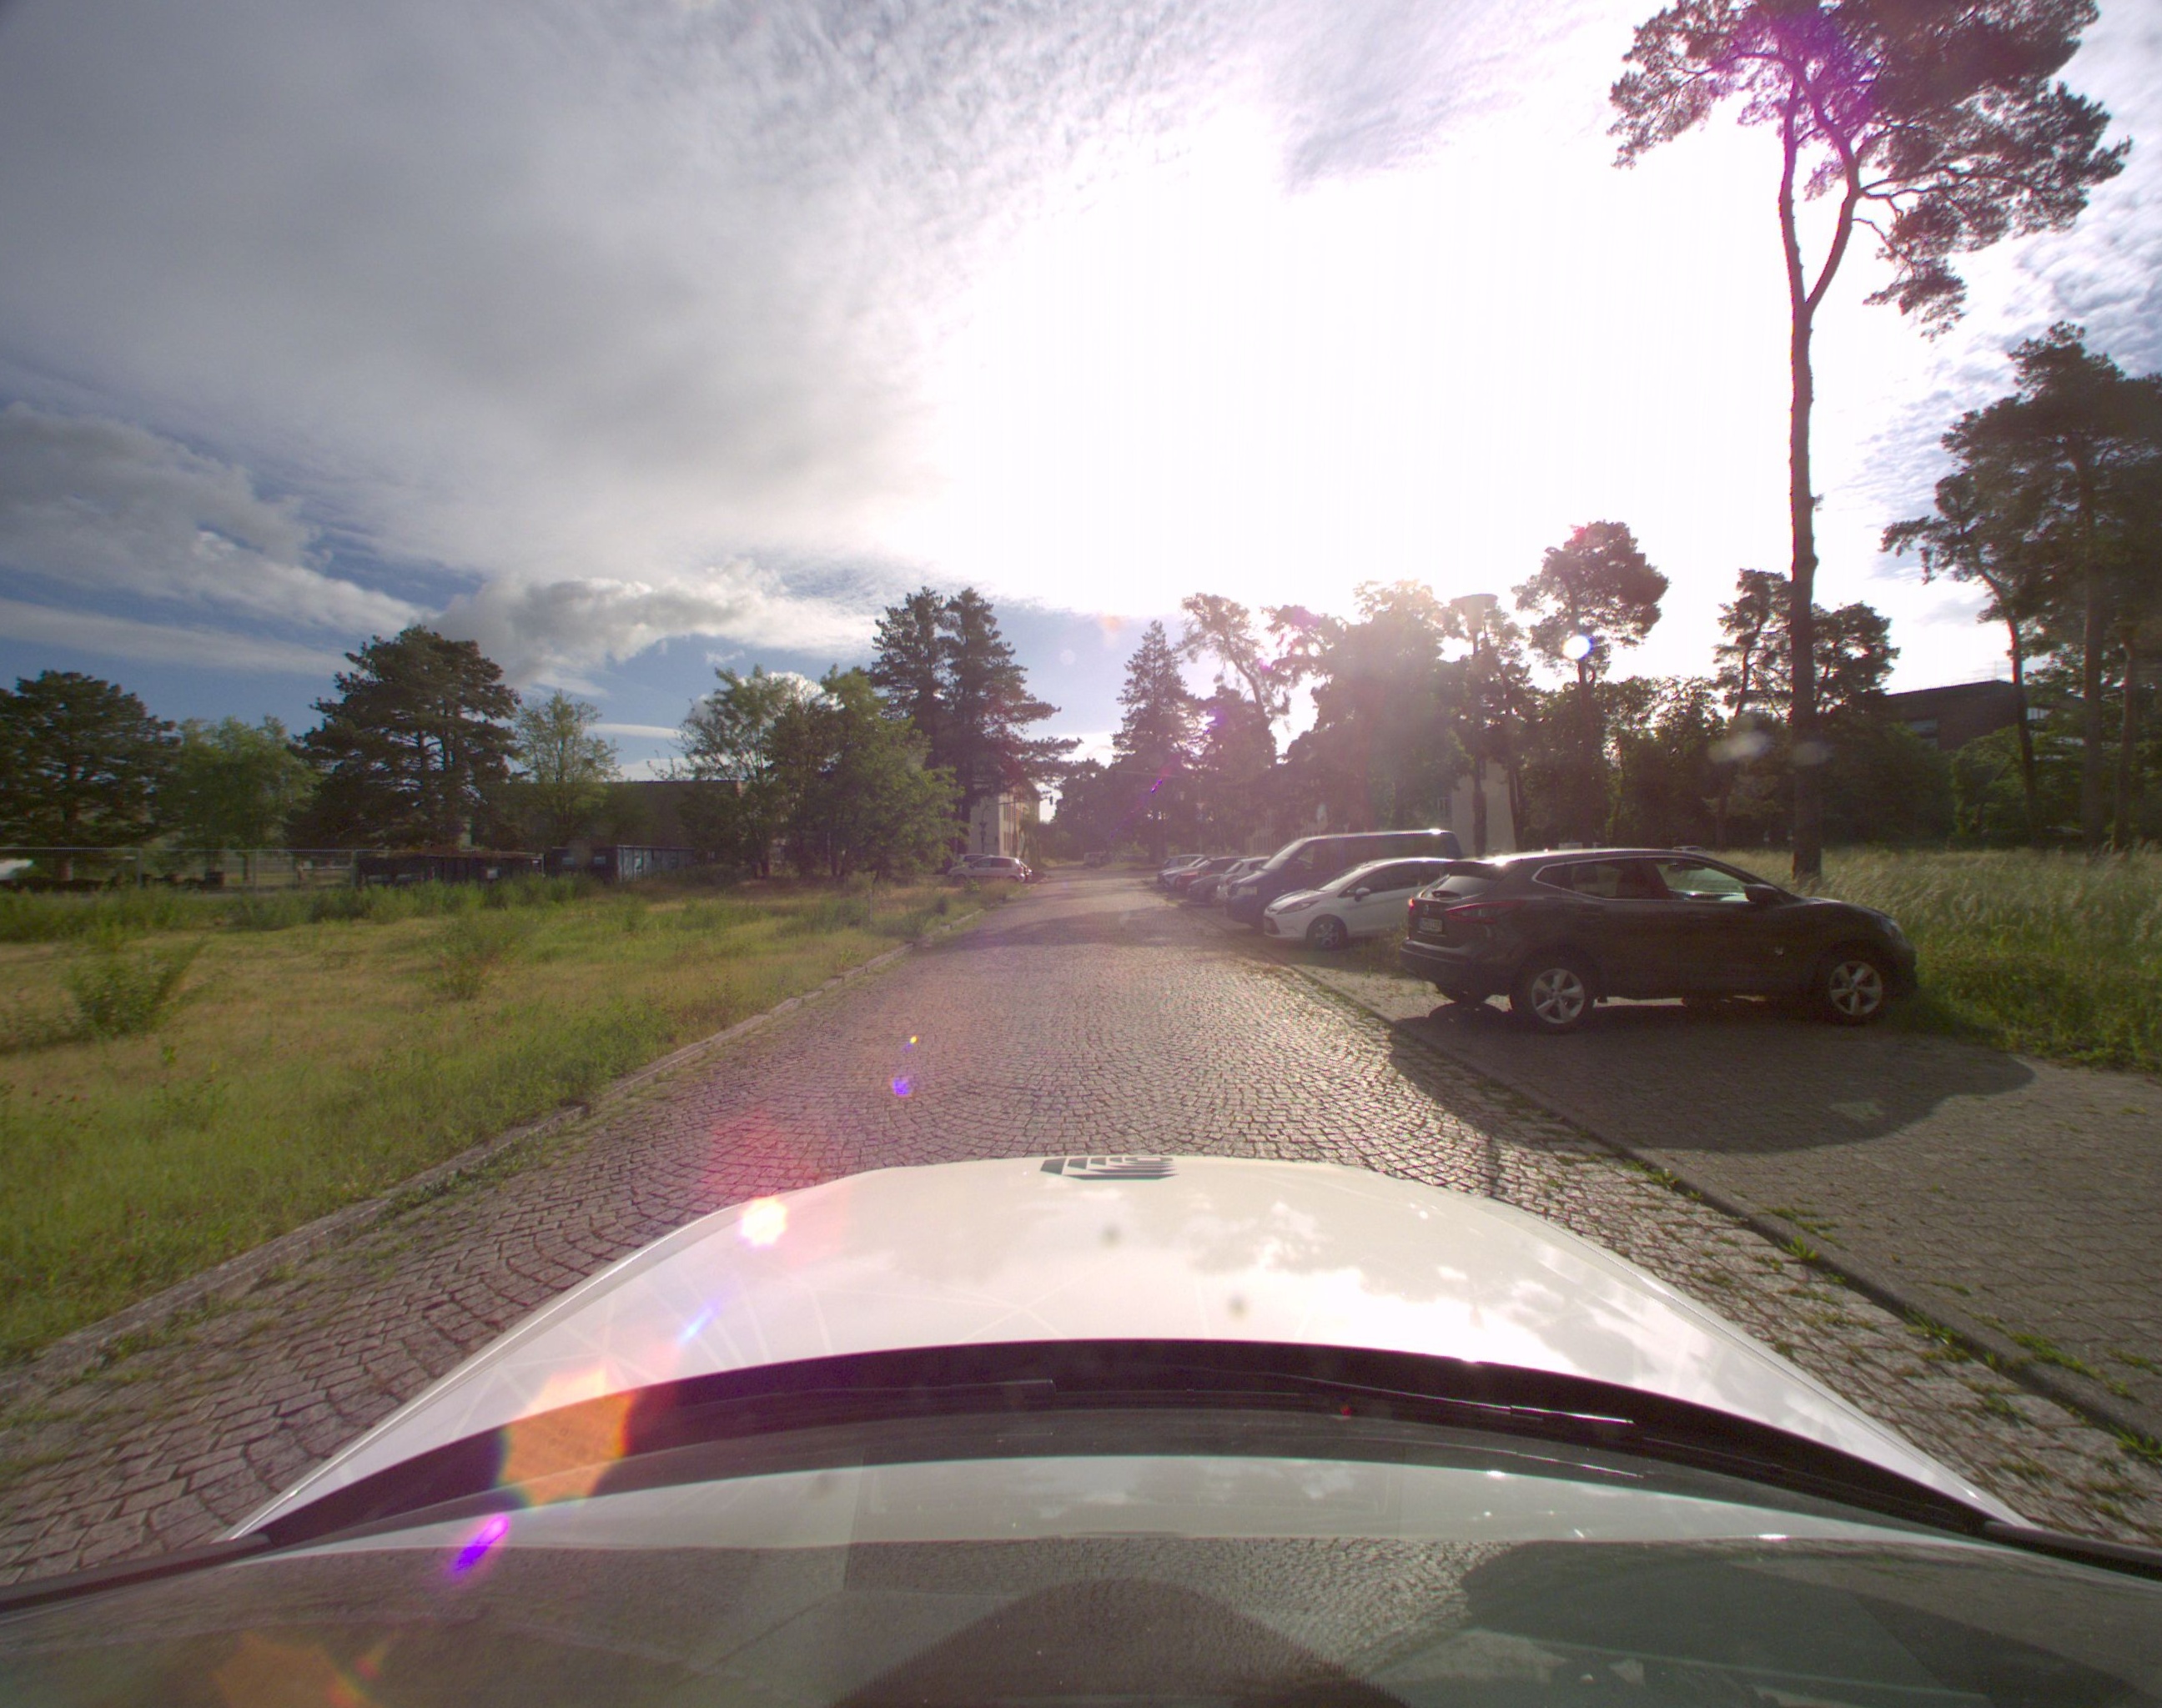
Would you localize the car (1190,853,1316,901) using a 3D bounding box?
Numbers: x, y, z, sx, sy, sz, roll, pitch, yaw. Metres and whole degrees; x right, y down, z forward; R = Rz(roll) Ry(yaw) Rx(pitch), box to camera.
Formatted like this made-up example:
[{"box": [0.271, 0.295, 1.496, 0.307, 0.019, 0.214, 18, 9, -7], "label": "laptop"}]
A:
[{"box": [5.840, 0.767, 27.958, 3.937, 1.495, 1.772, -2, -1, 0], "label": "car"}]

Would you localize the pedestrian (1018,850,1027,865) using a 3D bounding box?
[{"box": [-7.465, 0.473, 104.080, 0.982, 1.963, 0.932, -1, -1, 0], "label": "pedestrian"}]

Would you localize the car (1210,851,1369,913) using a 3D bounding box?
[{"box": [5.576, 0.742, 22.178, 3.861, 1.530, 1.808, -2, -1, 0], "label": "car"}]

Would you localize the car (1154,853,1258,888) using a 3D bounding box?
[{"box": [5.783, 0.776, 38.024, 4.497, 1.473, 1.892, -2, -1, -4], "label": "car"}]

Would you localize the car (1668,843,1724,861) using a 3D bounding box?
[{"box": [58.612, -0.192, 77.644, 3.921, 1.679, 1.855, -1, -1, -2], "label": "car"}]

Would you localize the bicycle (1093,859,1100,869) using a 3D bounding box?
[{"box": [1.655, 1.078, 88.138, 0.725, 0.999, 1.799, -1, 1, 1], "label": "bicycle"}]

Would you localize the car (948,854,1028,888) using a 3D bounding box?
[{"box": [-4.478, 0.819, 39.755, 3.672, 1.473, 1.848, 2, -1, -2], "label": "car"}]

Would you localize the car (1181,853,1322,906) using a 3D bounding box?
[{"box": [5.167, 0.758, 25.035, 3.937, 1.467, 1.831, -2, -1, 0], "label": "car"}]

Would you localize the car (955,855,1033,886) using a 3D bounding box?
[{"box": [-4.484, 0.850, 42.410, 3.817, 1.429, 1.858, 2, -1, -1], "label": "car"}]

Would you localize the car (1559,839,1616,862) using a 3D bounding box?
[{"box": [58.312, -0.412, 93.754, 5.139, 2.536, 2.265, -1, -1, 1], "label": "car"}]

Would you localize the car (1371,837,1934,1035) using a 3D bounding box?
[{"box": [5.268, 0.712, 7.957, 4.178, 1.589, 1.877, -2, -1, -1], "label": "car"}]

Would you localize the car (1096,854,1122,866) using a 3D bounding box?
[{"box": [3.557, 0.830, 104.101, 3.035, 1.465, 1.713, -1, -1, -12], "label": "car"}]

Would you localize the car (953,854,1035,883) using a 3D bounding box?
[{"box": [-5.061, 0.843, 47.646, 4.575, 1.455, 1.902, 2, 1, -2], "label": "car"}]

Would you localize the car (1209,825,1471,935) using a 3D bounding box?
[{"box": [5.202, 0.515, 16.827, 4.718, 1.928, 1.991, -3, -1, -1], "label": "car"}]

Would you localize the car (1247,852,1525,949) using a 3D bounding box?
[{"box": [5.231, 0.775, 14.313, 4.181, 1.470, 1.805, -2, -1, -4], "label": "car"}]

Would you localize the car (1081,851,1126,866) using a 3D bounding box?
[{"box": [2.927, 0.575, 107.671, 5.508, 1.916, 2.244, -1, -1, -14], "label": "car"}]

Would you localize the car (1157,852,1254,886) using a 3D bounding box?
[{"box": [6.163, 0.737, 40.650, 4.531, 1.505, 1.932, -2, -1, -2], "label": "car"}]

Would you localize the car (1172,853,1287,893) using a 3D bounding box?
[{"box": [5.951, 0.764, 32.975, 4.327, 1.473, 1.739, -2, -1, 0], "label": "car"}]

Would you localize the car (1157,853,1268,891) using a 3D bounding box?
[{"box": [5.641, 0.768, 35.245, 4.492, 1.473, 1.849, -2, -1, 0], "label": "car"}]

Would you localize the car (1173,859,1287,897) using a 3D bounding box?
[{"box": [5.535, 0.881, 30.596, 3.937, 1.261, 1.726, -2, -1, 0], "label": "car"}]

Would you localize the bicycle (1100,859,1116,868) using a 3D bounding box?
[{"box": [3.072, 1.082, 92.749, 1.787, 0.999, 0.644, -1, 0, -1], "label": "bicycle"}]

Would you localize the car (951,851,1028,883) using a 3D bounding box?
[{"box": [-5.000, 0.744, 45.105, 4.113, 1.600, 1.856, 2, -1, -5], "label": "car"}]
